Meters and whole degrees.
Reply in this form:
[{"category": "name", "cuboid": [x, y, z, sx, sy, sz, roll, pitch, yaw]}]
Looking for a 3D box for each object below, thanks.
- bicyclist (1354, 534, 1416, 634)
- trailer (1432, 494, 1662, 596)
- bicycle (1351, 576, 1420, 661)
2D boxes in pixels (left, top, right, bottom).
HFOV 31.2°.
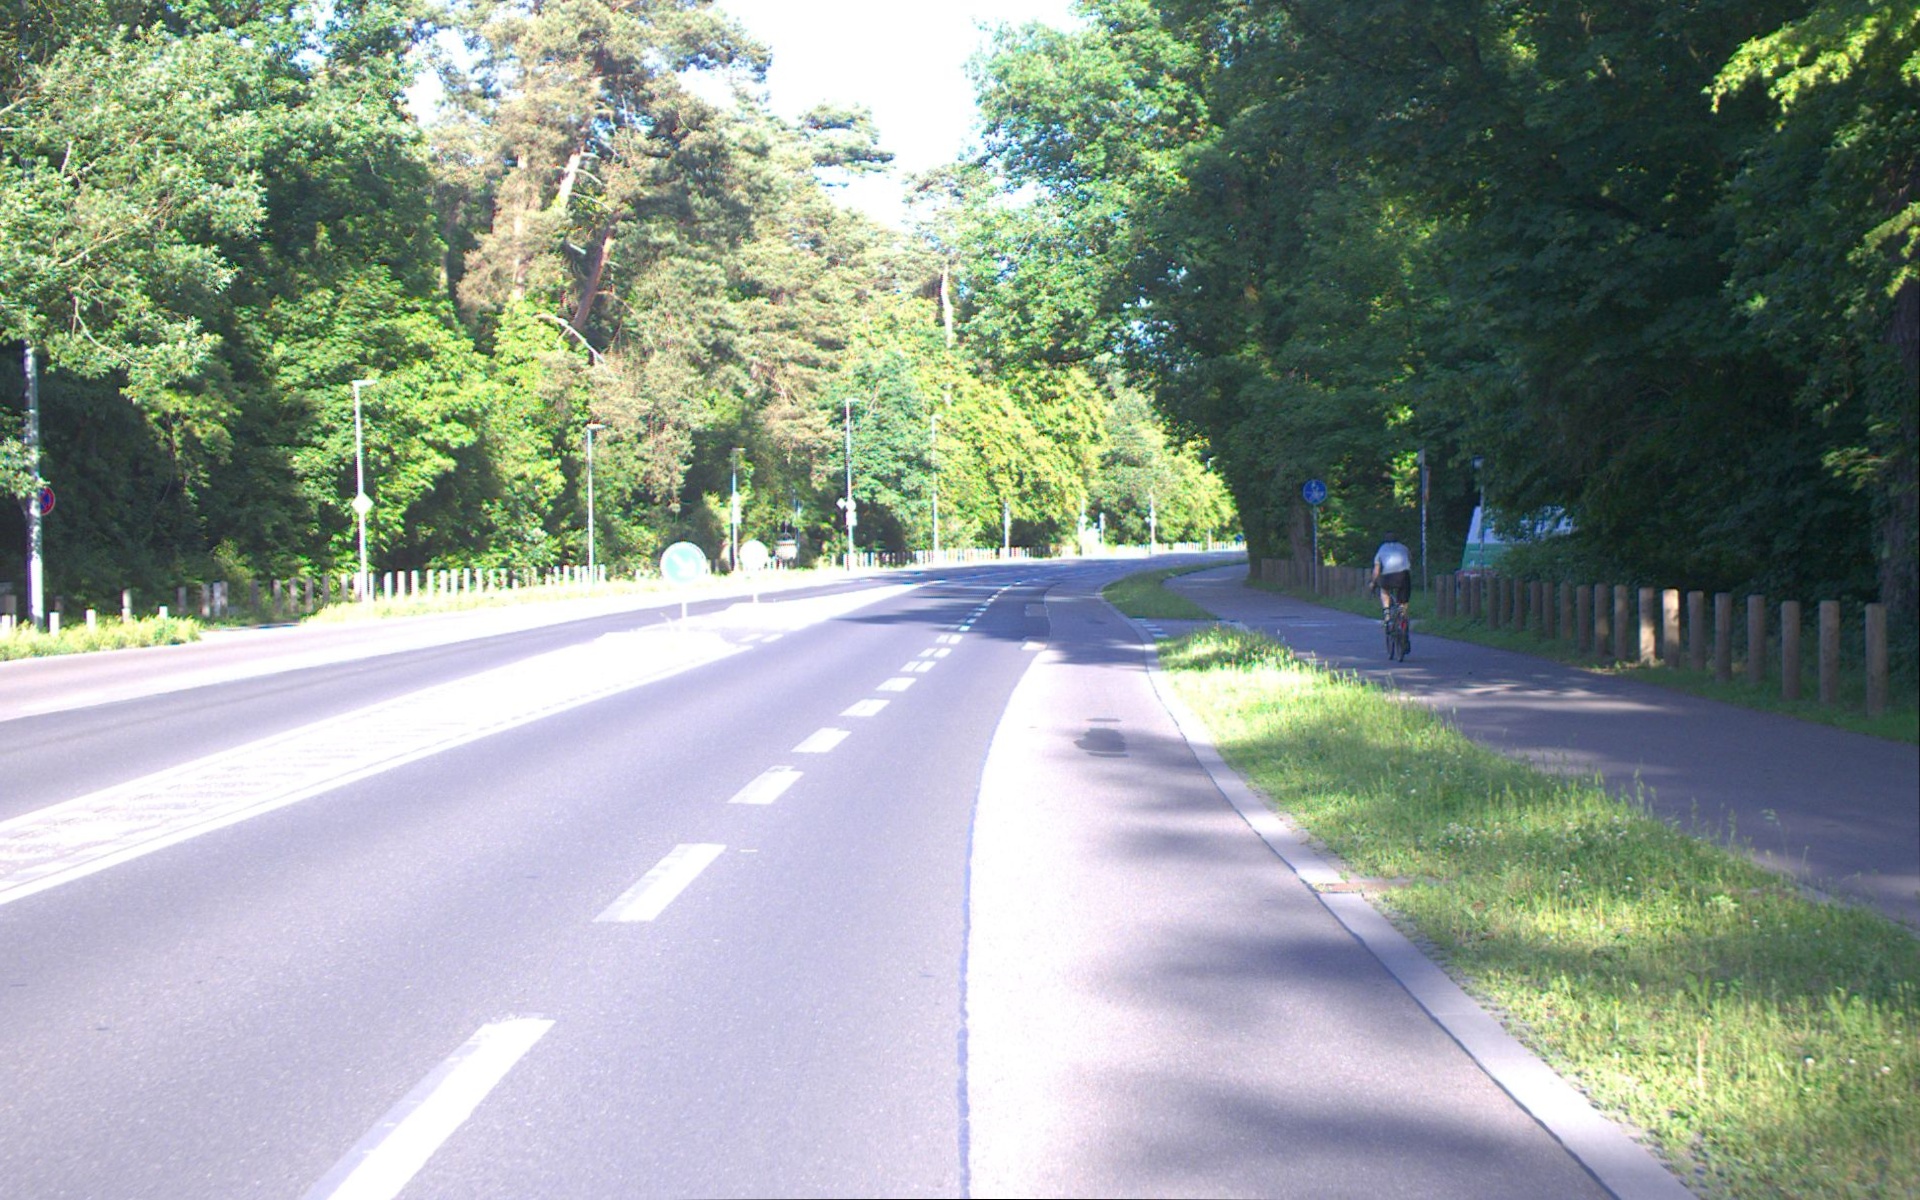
[{"category": "bicyclist", "cuboid": [5.548, -0.212, 44.884, 0.712, 1.284, 1.104, 0, 1, 2]}, {"category": "trailer", "cuboid": [12.005, -1.120, 70.466, 4.224, 2.014, 1.995, 0, 1, 43]}, {"category": "bicycle", "cuboid": [5.544, 0.225, 44.840, 0.712, 1.052, 2.053, 0, 1, 2]}]
